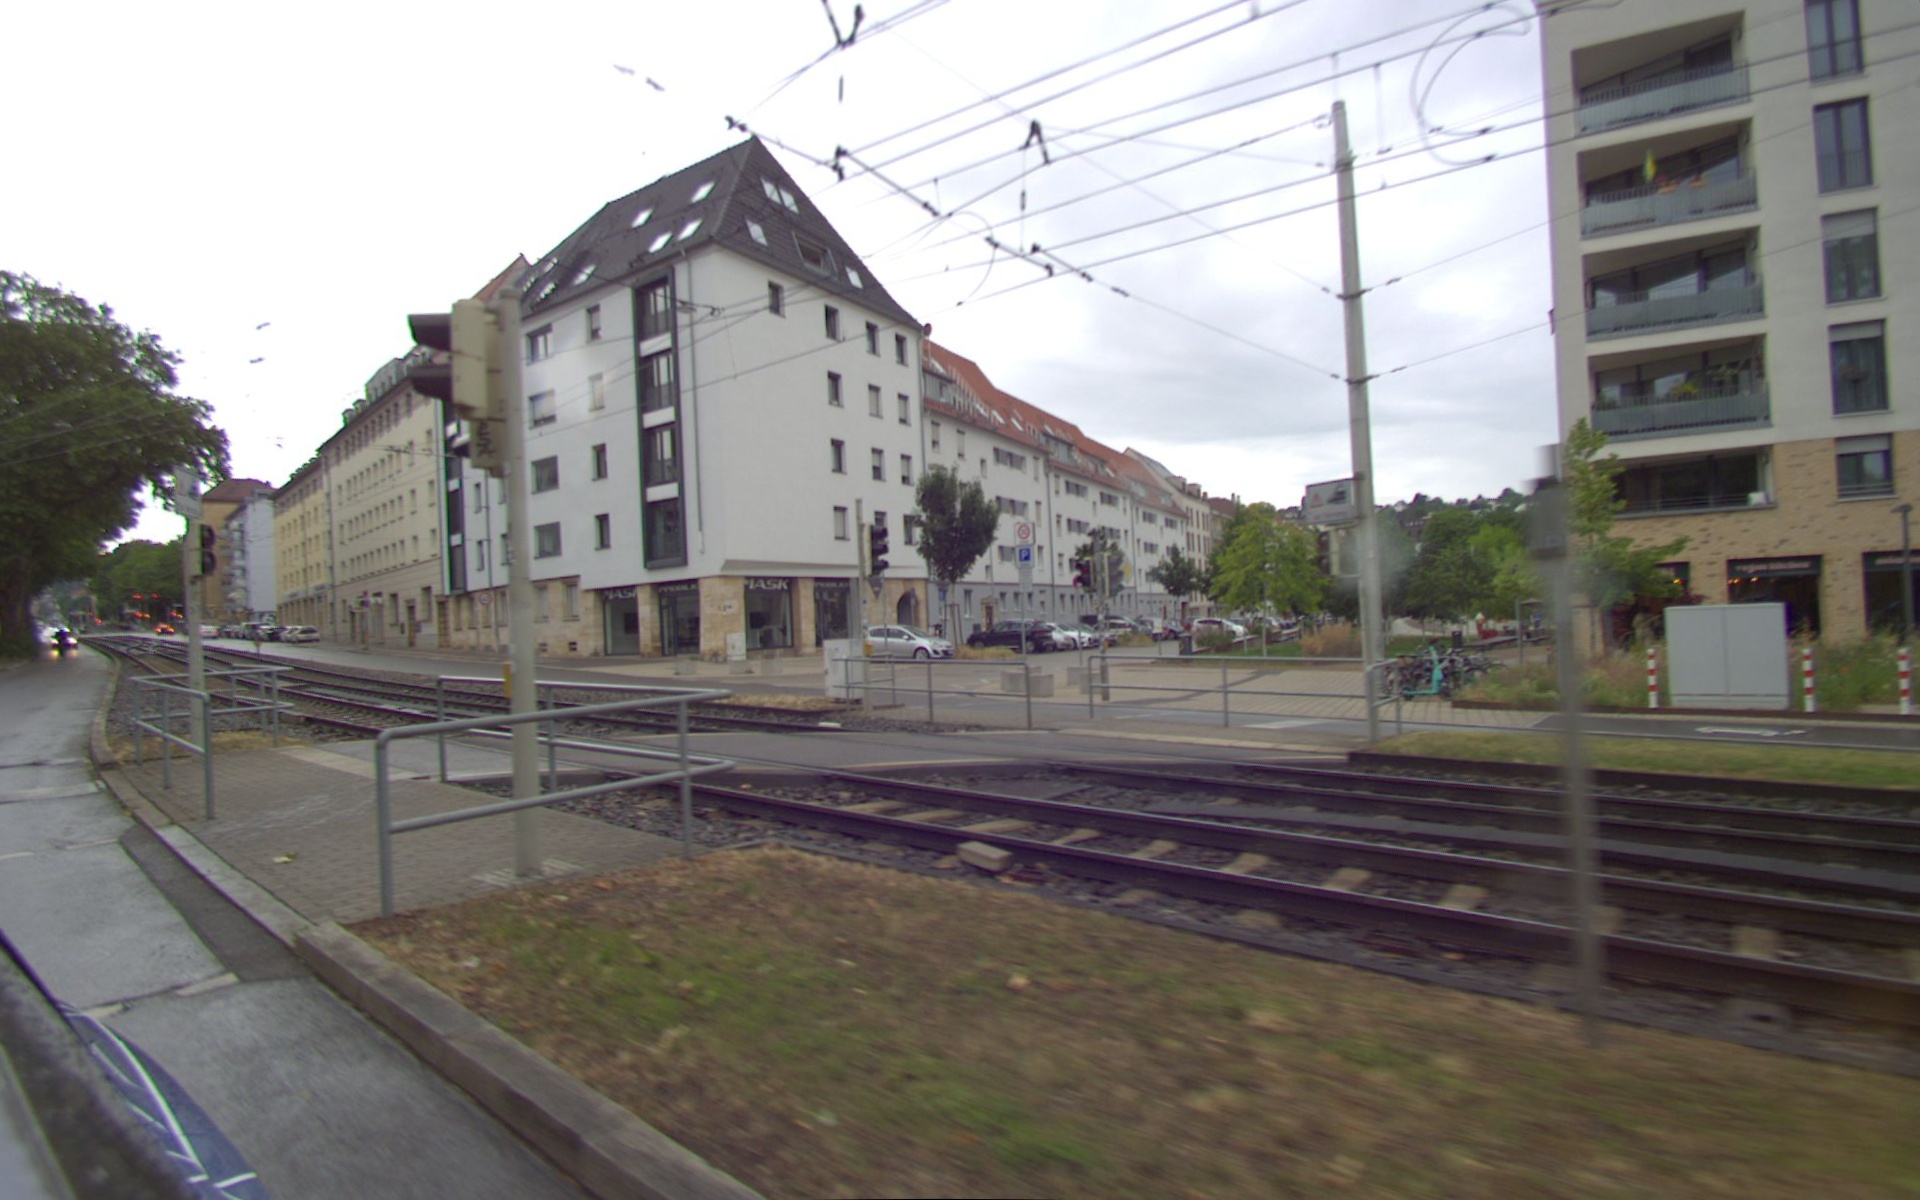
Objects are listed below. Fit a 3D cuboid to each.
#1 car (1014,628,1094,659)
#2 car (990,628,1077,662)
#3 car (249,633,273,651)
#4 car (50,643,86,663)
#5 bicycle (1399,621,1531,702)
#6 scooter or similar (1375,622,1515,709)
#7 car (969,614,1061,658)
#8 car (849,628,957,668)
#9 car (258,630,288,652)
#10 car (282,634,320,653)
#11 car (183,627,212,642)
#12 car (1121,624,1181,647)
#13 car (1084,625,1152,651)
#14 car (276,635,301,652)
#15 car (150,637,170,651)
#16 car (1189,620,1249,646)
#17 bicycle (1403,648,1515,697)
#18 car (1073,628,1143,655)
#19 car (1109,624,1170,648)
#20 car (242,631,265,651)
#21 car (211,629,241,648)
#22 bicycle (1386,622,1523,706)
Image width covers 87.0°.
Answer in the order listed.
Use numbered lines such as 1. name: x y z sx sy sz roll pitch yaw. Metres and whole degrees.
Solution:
1. car: 5.227 2.419 56.416 3.981 1.630 1.922 -2 -2 28
2. car: 3.722 2.306 51.398 3.981 1.630 1.922 -2 -2 28
3. car: -68.358 4.088 99.010 1.358 1.766 3.408 0 -2 -45
4. car: -71.736 4.263 81.419 1.860 1.502 3.857 1 -2 -38
5. bicycle: 10.528 1.254 21.152 2.358 1.608 0.669 -2 -2 38
6. scooter or similar: 9.405 1.243 19.685 2.358 1.608 0.594 -2 -2 38
7. car: 2.657 1.745 48.888 3.981 2.029 1.922 -2 -2 28
8. car: -2.208 1.843 39.060 3.894 1.431 1.587 -2 -1 25
9. car: -64.523 3.829 95.031 1.704 1.975 4.304 0 -2 -42
10. car: -56.499 3.716 86.731 2.001 1.554 4.002 0 -2 -45
11. car: -83.635 3.815 110.970 5.017 1.548 1.668 -3 -2 43
12. car: 14.260 2.643 75.589 3.981 1.630 1.922 -2 -2 28
13. car: 10.381 2.522 66.442 3.981 1.630 1.922 -2 -2 28
14. car: -59.627 3.853 89.841 1.307 1.495 3.193 0 -2 -45
15. car: -113.649 6.235 143.756 1.920 2.029 4.005 0 -2 -41
16. car: 20.740 2.638 81.126 4.318 2.029 1.825 -3 -3 36
17. bicycle: 11.350 1.634 23.080 2.229 1.055 0.470 -3 -3 42
18. car: 9.396 2.653 64.303 3.982 1.630 1.921 -2 -2 29
19. car: 13.029 2.612 73.476 3.981 1.630 1.922 -2 -2 28
20. car: -71.555 4.153 102.467 1.534 1.897 4.046 0 -2 -41
21. car: -80.142 4.177 110.479 2.001 2.029 4.230 0 -2 -45
22. bicycle: 9.901 1.260 20.338 2.358 1.608 0.669 -2 -2 38
